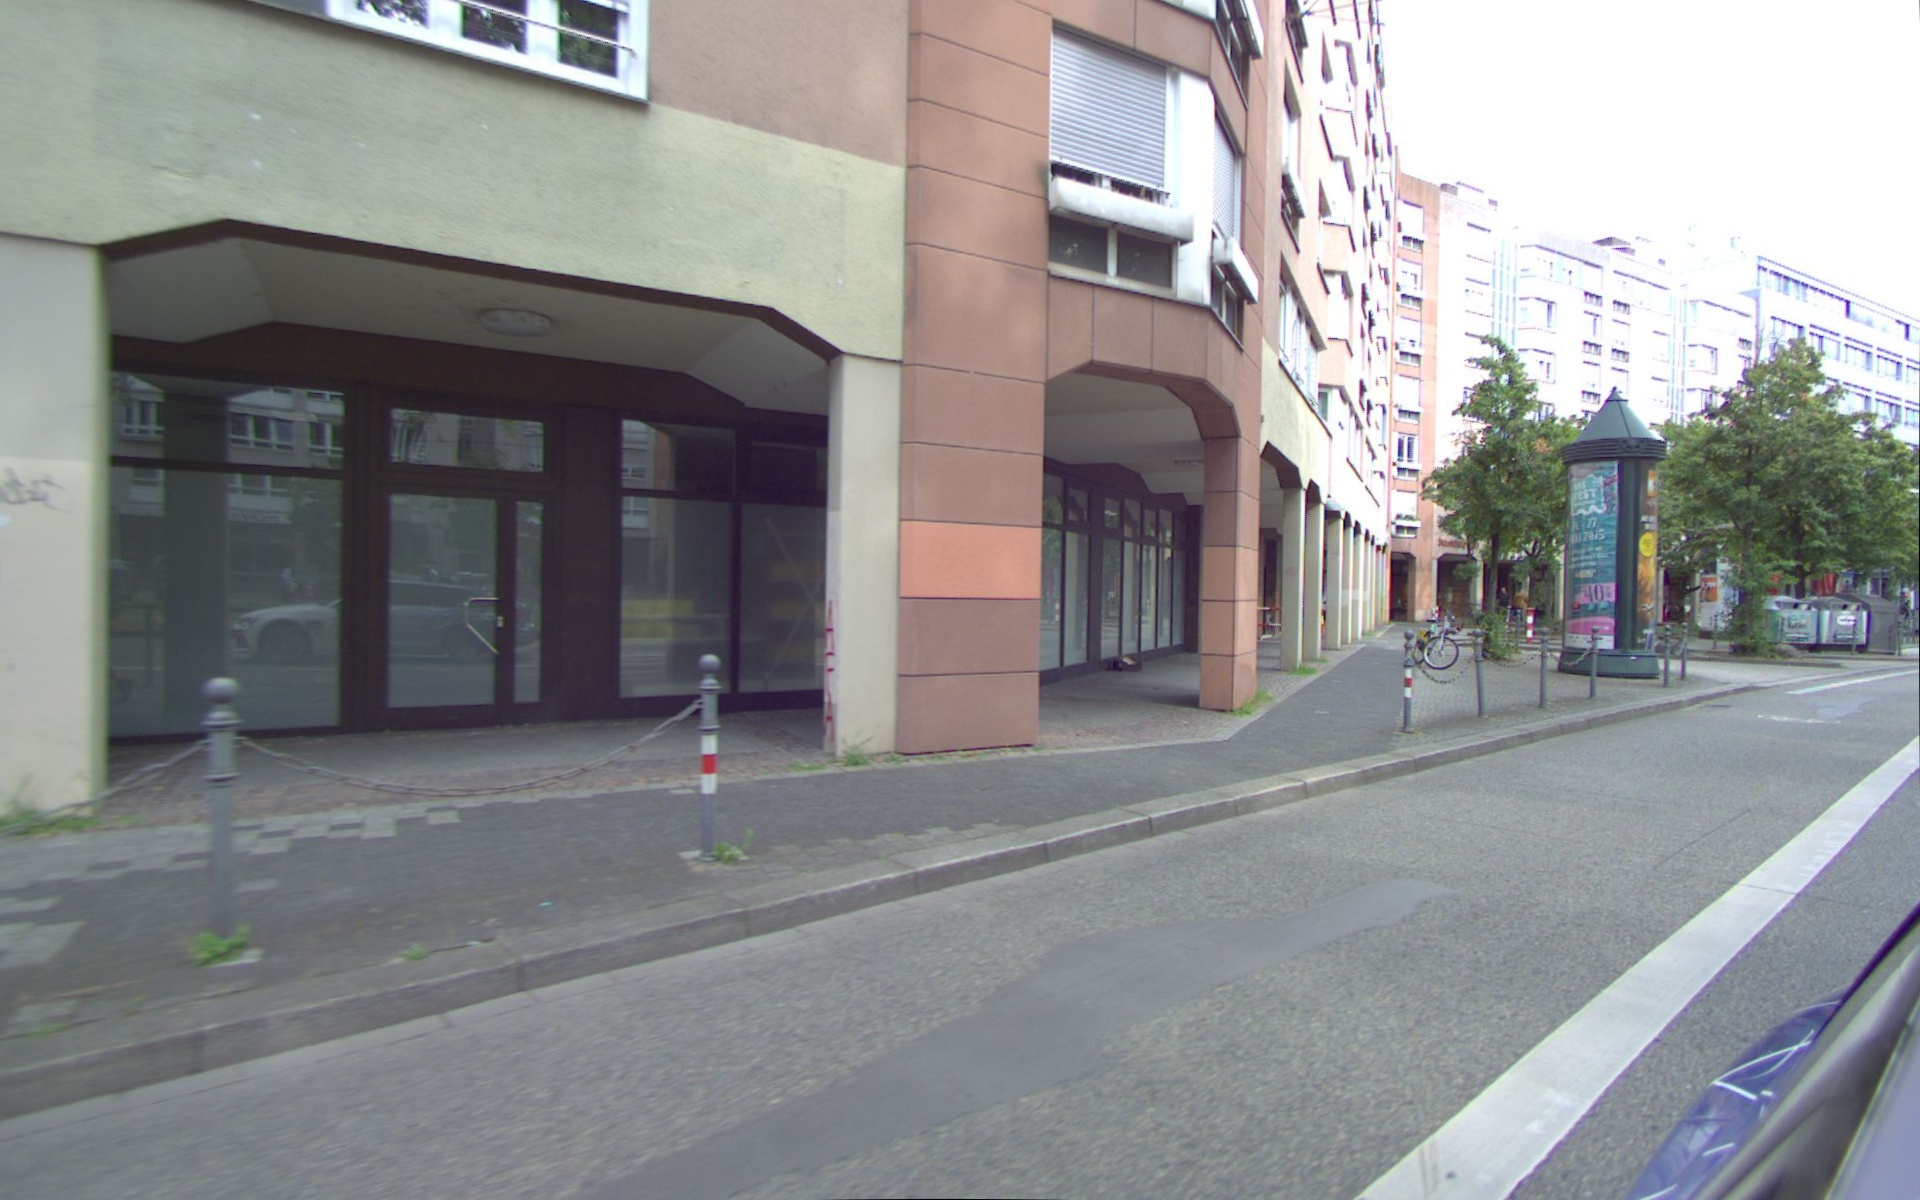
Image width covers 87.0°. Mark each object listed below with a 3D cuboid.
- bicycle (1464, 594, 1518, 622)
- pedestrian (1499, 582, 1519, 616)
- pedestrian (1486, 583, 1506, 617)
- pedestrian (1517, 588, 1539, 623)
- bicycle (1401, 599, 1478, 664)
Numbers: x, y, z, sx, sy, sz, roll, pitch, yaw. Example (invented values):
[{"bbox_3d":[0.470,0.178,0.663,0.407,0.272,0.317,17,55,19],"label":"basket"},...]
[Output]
[{"bbox_3d":[22.297,0.338,42.502,1.929,1.126,0.597,1,0,4],"label":"bicycle"},{"bbox_3d":[27.190,-0.046,50.114,0.668,1.683,0.608,1,0,-32],"label":"pedestrian"},{"bbox_3d":[26.841,0.017,50.699,0.668,1.683,0.608,1,0,-32],"label":"pedestrian"},{"bbox_3d":[27.671,0.248,49.313,0.834,1.683,0.535,1,0,-29],"label":"pedestrian"},{"bbox_3d":[9.252,0.587,19.590,0.658,1.142,1.665,1,2,0],"label":"bicycle"}]
